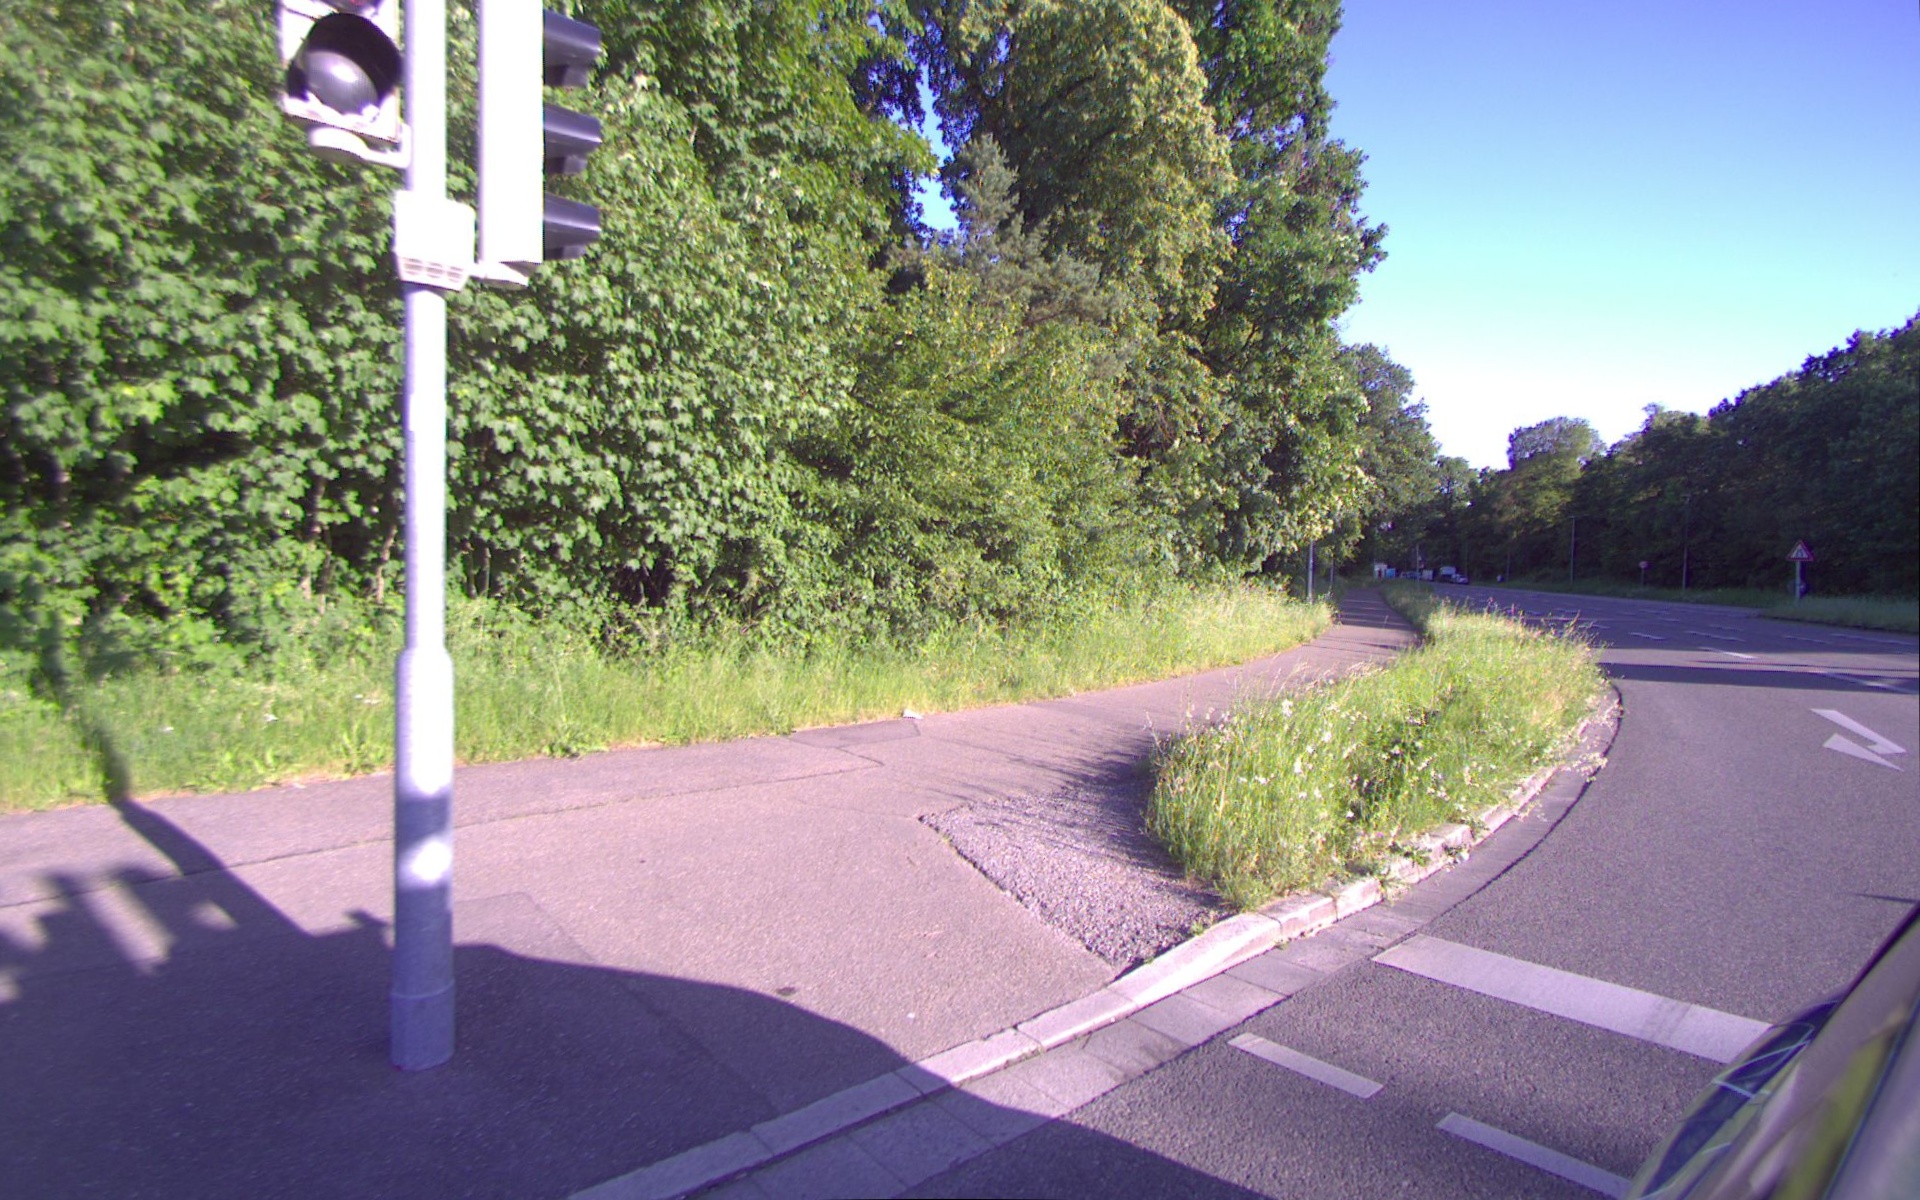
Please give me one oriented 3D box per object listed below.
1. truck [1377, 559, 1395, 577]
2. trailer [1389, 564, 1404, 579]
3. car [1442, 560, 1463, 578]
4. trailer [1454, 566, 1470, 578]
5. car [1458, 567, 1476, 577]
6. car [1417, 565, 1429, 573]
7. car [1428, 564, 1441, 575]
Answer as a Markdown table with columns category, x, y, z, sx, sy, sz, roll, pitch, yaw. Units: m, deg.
| category | x | y | z | sx | sy | sz | roll | pitch | yaw |
| --- | --- | --- | --- | --- | --- | --- | --- | --- | --- |
| truck | 72.915 | -5.481 | 173.392 | 2.360 | 2.907 | 5.568 | -1 | 2 | 18 |
| trailer | 67.515 | -4.463 | 156.614 | 1.846 | 2.204 | 4.106 | 0 | 2 | 18 |
| car | 84.278 | -5.319 | 173.370 | 2.430 | 2.881 | 4.773 | 3 | 3 | 18 |
| trailer | 80.313 | -4.524 | 161.925 | 1.784 | 1.750 | 3.628 | 3 | 3 | 18 |
| car | 78.715 | -4.327 | 157.212 | 1.891 | 1.481 | 3.990 | 3 | 3 | 18 |
| car | 98.461 | -6.548 | 215.334 | 1.784 | 1.523 | 3.891 | 3 | 3 | 18 |
| car | 95.310 | -6.183 | 203.213 | 1.671 | 2.127 | 4.607 | 3 | 3 | 18 |
